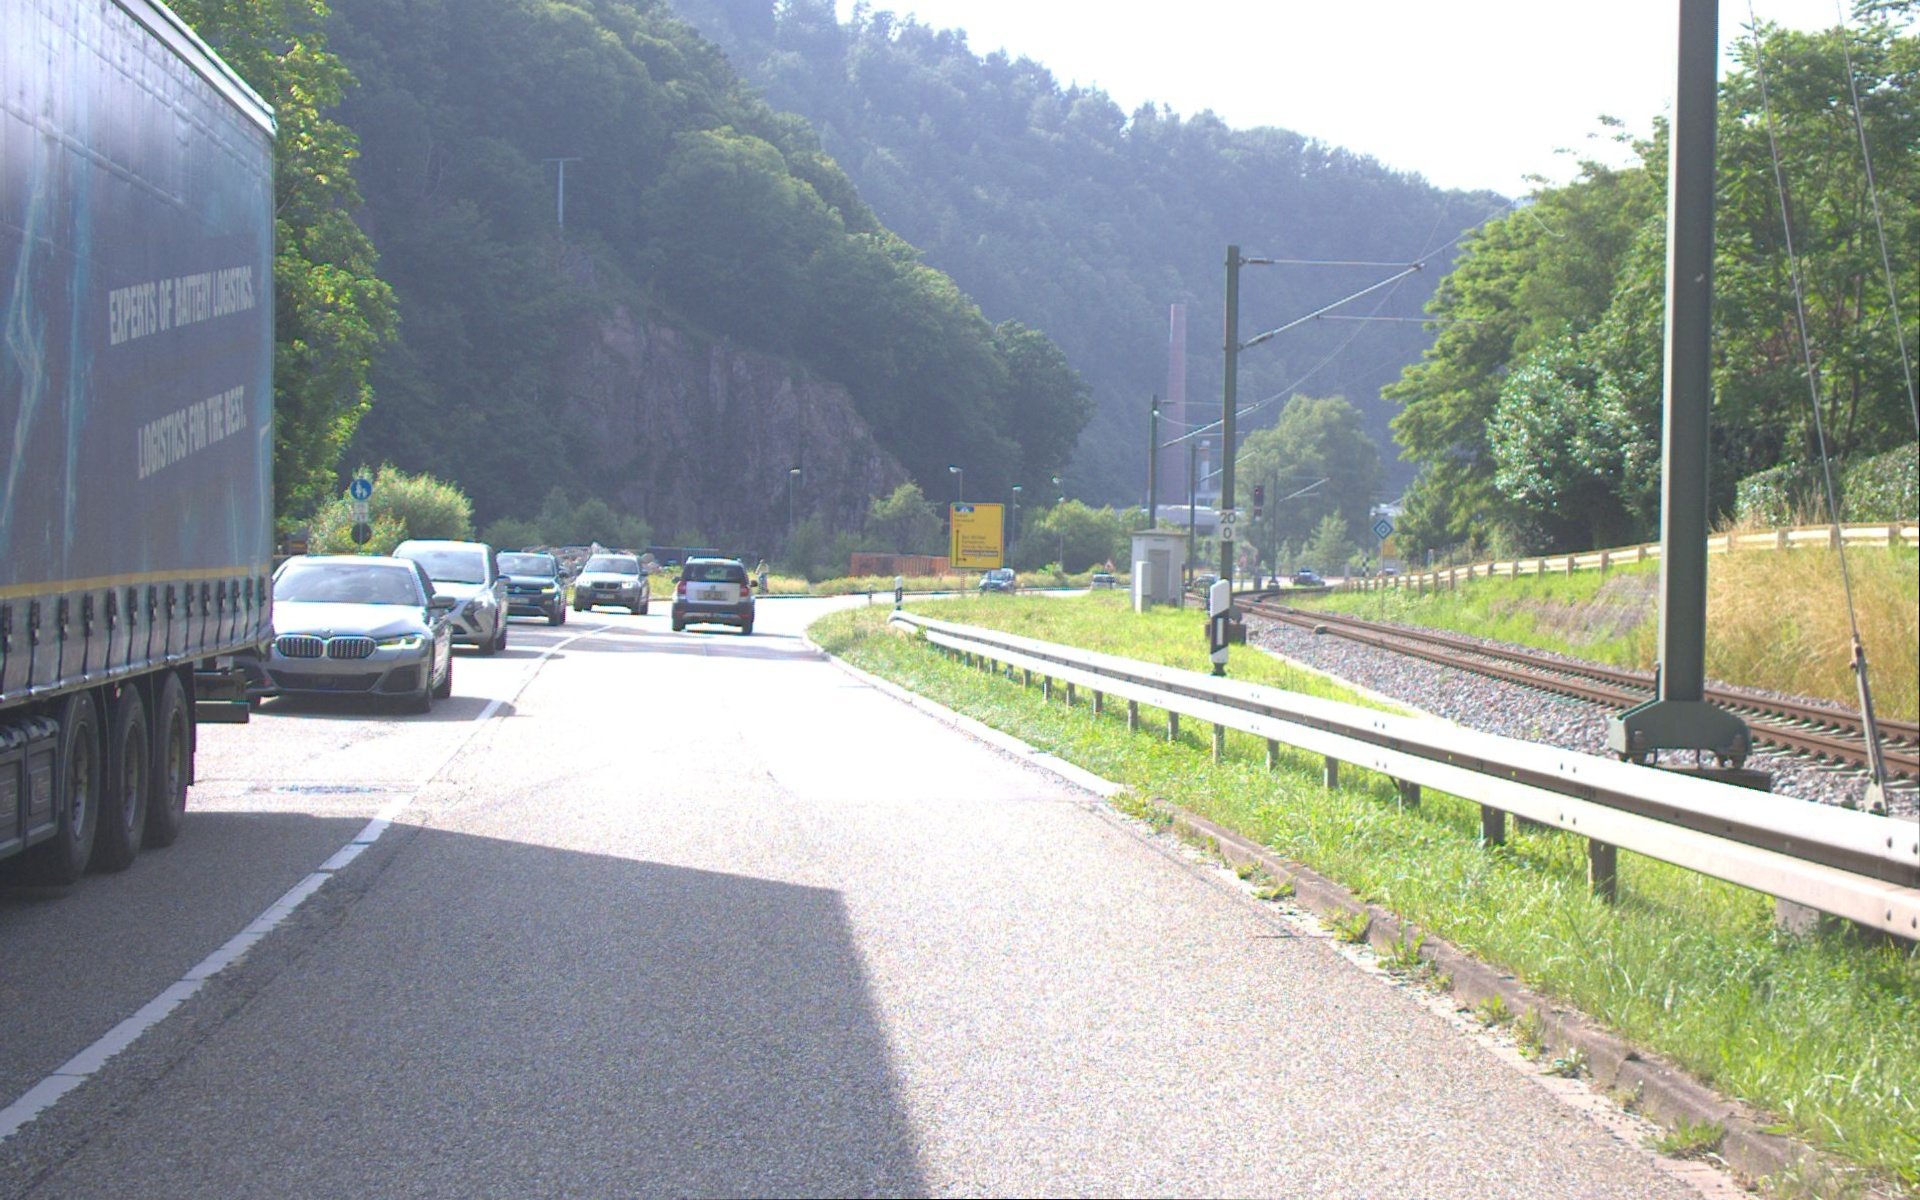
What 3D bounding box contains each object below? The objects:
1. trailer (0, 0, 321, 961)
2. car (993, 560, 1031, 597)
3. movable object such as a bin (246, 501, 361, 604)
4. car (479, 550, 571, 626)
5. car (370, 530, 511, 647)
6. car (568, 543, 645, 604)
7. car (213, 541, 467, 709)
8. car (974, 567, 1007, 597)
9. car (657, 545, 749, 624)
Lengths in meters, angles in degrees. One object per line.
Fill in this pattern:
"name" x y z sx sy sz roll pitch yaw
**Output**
"trailer" -4.820 -0.792 13.535 2.856 3.999 13.672 0 1 -3
"car" 2.880 -1.173 189.430 1.994 2.007 4.000 0 1 3
"movable object such as a bin" -25.840 -1.840 135.785 2.699 3.934 9.990 0 0 0
"car" -9.574 -0.297 75.932 1.798 1.551 4.332 2 1 -5
"car" -7.771 -0.199 51.780 1.773 1.664 4.648 1 1 -5
"car" -10.047 -0.756 98.022 1.993 1.623 4.508 2 0 -4
"car" -6.007 0.207 33.830 1.836 1.491 4.936 1 0 -3
"car" 1.942 -1.127 218.053 1.851 1.778 4.684 3 0 2
"car" -5.715 -0.348 76.753 1.993 1.718 3.990 0 0 -4
